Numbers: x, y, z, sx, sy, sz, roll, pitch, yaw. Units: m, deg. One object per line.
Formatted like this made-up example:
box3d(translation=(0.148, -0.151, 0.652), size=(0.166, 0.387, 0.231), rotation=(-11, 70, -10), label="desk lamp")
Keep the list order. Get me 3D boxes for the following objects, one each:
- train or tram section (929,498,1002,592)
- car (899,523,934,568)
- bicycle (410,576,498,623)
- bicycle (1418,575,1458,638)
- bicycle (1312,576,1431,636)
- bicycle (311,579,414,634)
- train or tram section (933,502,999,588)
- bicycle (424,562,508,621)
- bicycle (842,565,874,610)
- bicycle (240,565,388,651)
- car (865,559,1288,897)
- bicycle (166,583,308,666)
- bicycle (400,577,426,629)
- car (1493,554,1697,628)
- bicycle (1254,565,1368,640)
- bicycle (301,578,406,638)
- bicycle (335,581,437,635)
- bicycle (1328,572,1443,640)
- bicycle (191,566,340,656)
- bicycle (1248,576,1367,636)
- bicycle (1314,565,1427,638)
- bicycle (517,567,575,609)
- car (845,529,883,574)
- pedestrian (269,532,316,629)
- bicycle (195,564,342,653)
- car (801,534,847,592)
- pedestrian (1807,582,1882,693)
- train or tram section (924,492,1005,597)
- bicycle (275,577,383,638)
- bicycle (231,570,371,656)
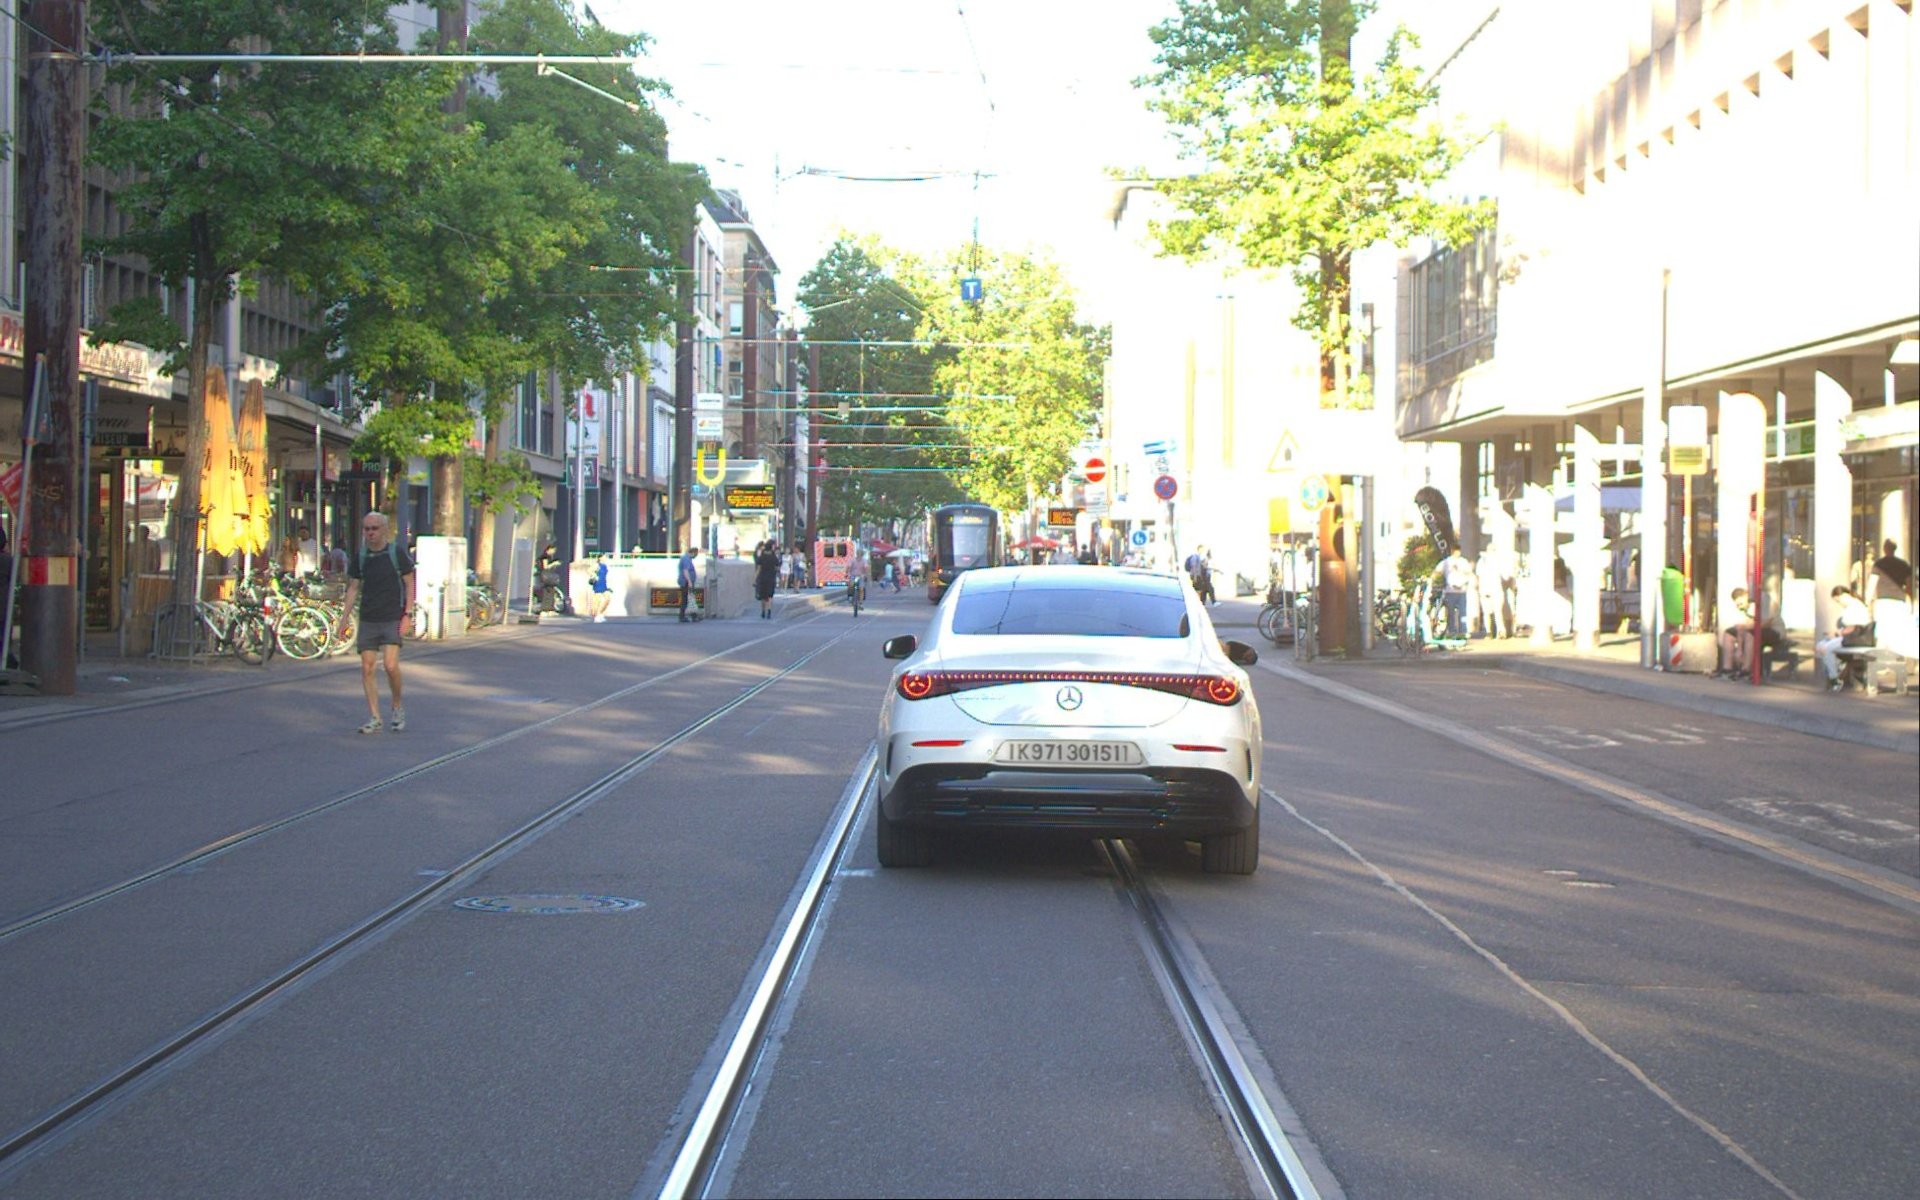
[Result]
box3d(translation=(0.218, -2.148, 134.531), size=(2.694, 3.504, 12.545), rotation=(0, 1, 0), label="train or tram section")
box3d(translation=(-2.804, -3.534, 223.303), size=(2.099, 2.887, 5.275), rotation=(0, 1, 1), label="car")
box3d(translation=(-9.096, -0.006, 61.824), size=(1.493, 0.780, 0.344), rotation=(2, 1, 2), label="bicycle")
box3d(translation=(8.847, 0.116, 63.636), size=(0.564, 1.124, 1.929), rotation=(-1, 1, 4), label="bicycle")
box3d(translation=(7.616, 0.103, 63.677), size=(2.113, 1.092, 0.610), rotation=(0, 0, -12), label="bicycle")
box3d(translation=(-9.099, 0.102, 52.367), size=(1.493, 0.780, 0.344), rotation=(2, 1, 2), label="bicycle")
box3d(translation=(0.256, -2.321, 146.371), size=(2.694, 3.504, 11.143), rotation=(0, 1, 0), label="train or tram section")
box3d(translation=(-9.084, -0.157, 63.220), size=(1.492, 1.025, 0.345), rotation=(2, 1, -9), label="bicycle")
box3d(translation=(-2.682, -0.344, 90.518), size=(0.800, 1.138, 2.257), rotation=(2, 1, -1), label="bicycle")
box3d(translation=(-8.512, 0.102, 45.325), size=(1.846, 1.073, 0.377), rotation=(2, 1, -4), label="bicycle")
box3d(translation=(0.522, 0.550, 17.519), size=(1.857, 1.450, 4.175), rotation=(2, 1, 0), label="car")
box3d(translation=(-8.606, 0.285, 40.949), size=(1.596, 0.927, 0.377), rotation=(2, 1, 7), label="bicycle")
box3d(translation=(-8.622, 0.047, 54.206), size=(0.343, 0.780, 1.405), rotation=(2, 1, -8), label="bicycle")
box3d(translation=(13.005, -0.193, 70.472), size=(3.801, 1.468, 1.649), rotation=(0, 1, -5), label="car")
box3d(translation=(6.257, 0.038, 61.374), size=(1.907, 1.277, 0.610), rotation=(-1, 1, -11), label="bicycle")
box3d(translation=(-9.106, 0.120, 51.648), size=(1.493, 0.838, 0.344), rotation=(2, 1, 2), label="bicycle")
box3d(translation=(-8.871, 0.119, 53.098), size=(1.493, 0.780, 0.344), rotation=(2, 1, 2), label="bicycle")
box3d(translation=(7.493, 0.096, 60.554), size=(1.907, 1.152, 0.610), rotation=(-1, 1, -11), label="bicycle")
box3d(translation=(-8.813, 0.134, 43.647), size=(1.788, 1.073, 0.377), rotation=(2, 1, -4), label="bicycle")
box3d(translation=(6.505, 0.109, 64.357), size=(2.113, 1.092, 0.610), rotation=(1, 0, -11), label="bicycle")
box3d(translation=(7.438, 0.016, 62.266), size=(1.907, 1.277, 0.610), rotation=(-1, 1, -11), label="bicycle")
box3d(translation=(-10.158, -0.312, 84.428), size=(0.719, 1.006, 2.038), rotation=(1, 1, 14), label="bicycle")
box3d(translation=(-5.311, -2.696, 191.288), size=(1.910, 2.452, 5.275), rotation=(0, 1, 1), label="car")
box3d(translation=(-11.276, -0.335, 58.122), size=(0.714, 1.634, 0.685), rotation=(0, 1, -6), label="pedestrian")
box3d(translation=(-8.867, 0.103, 44.120), size=(1.788, 1.073, 0.377), rotation=(2, 1, -4), label="bicycle")
box3d(translation=(-6.796, -1.861, 172.394), size=(1.993, 2.887, 5.275), rotation=(0, 1, 1), label="car")
box3d(translation=(9.834, 0.409, 38.231), size=(0.666, 1.194, 0.784), rotation=(1, 1, 5), label="pedestrian")
box3d(translation=(0.170, -1.960, 121.979), size=(2.694, 3.504, 12.545), rotation=(0, 1, 0), label="train or tram section")
box3d(translation=(-9.292, 0.113, 50.622), size=(1.493, 0.838, 0.344), rotation=(2, 1, 2), label="bicycle")
box3d(translation=(-9.188, 0.181, 47.922), size=(1.846, 1.137, 0.377), rotation=(2, 1, 2), label="bicycle")
